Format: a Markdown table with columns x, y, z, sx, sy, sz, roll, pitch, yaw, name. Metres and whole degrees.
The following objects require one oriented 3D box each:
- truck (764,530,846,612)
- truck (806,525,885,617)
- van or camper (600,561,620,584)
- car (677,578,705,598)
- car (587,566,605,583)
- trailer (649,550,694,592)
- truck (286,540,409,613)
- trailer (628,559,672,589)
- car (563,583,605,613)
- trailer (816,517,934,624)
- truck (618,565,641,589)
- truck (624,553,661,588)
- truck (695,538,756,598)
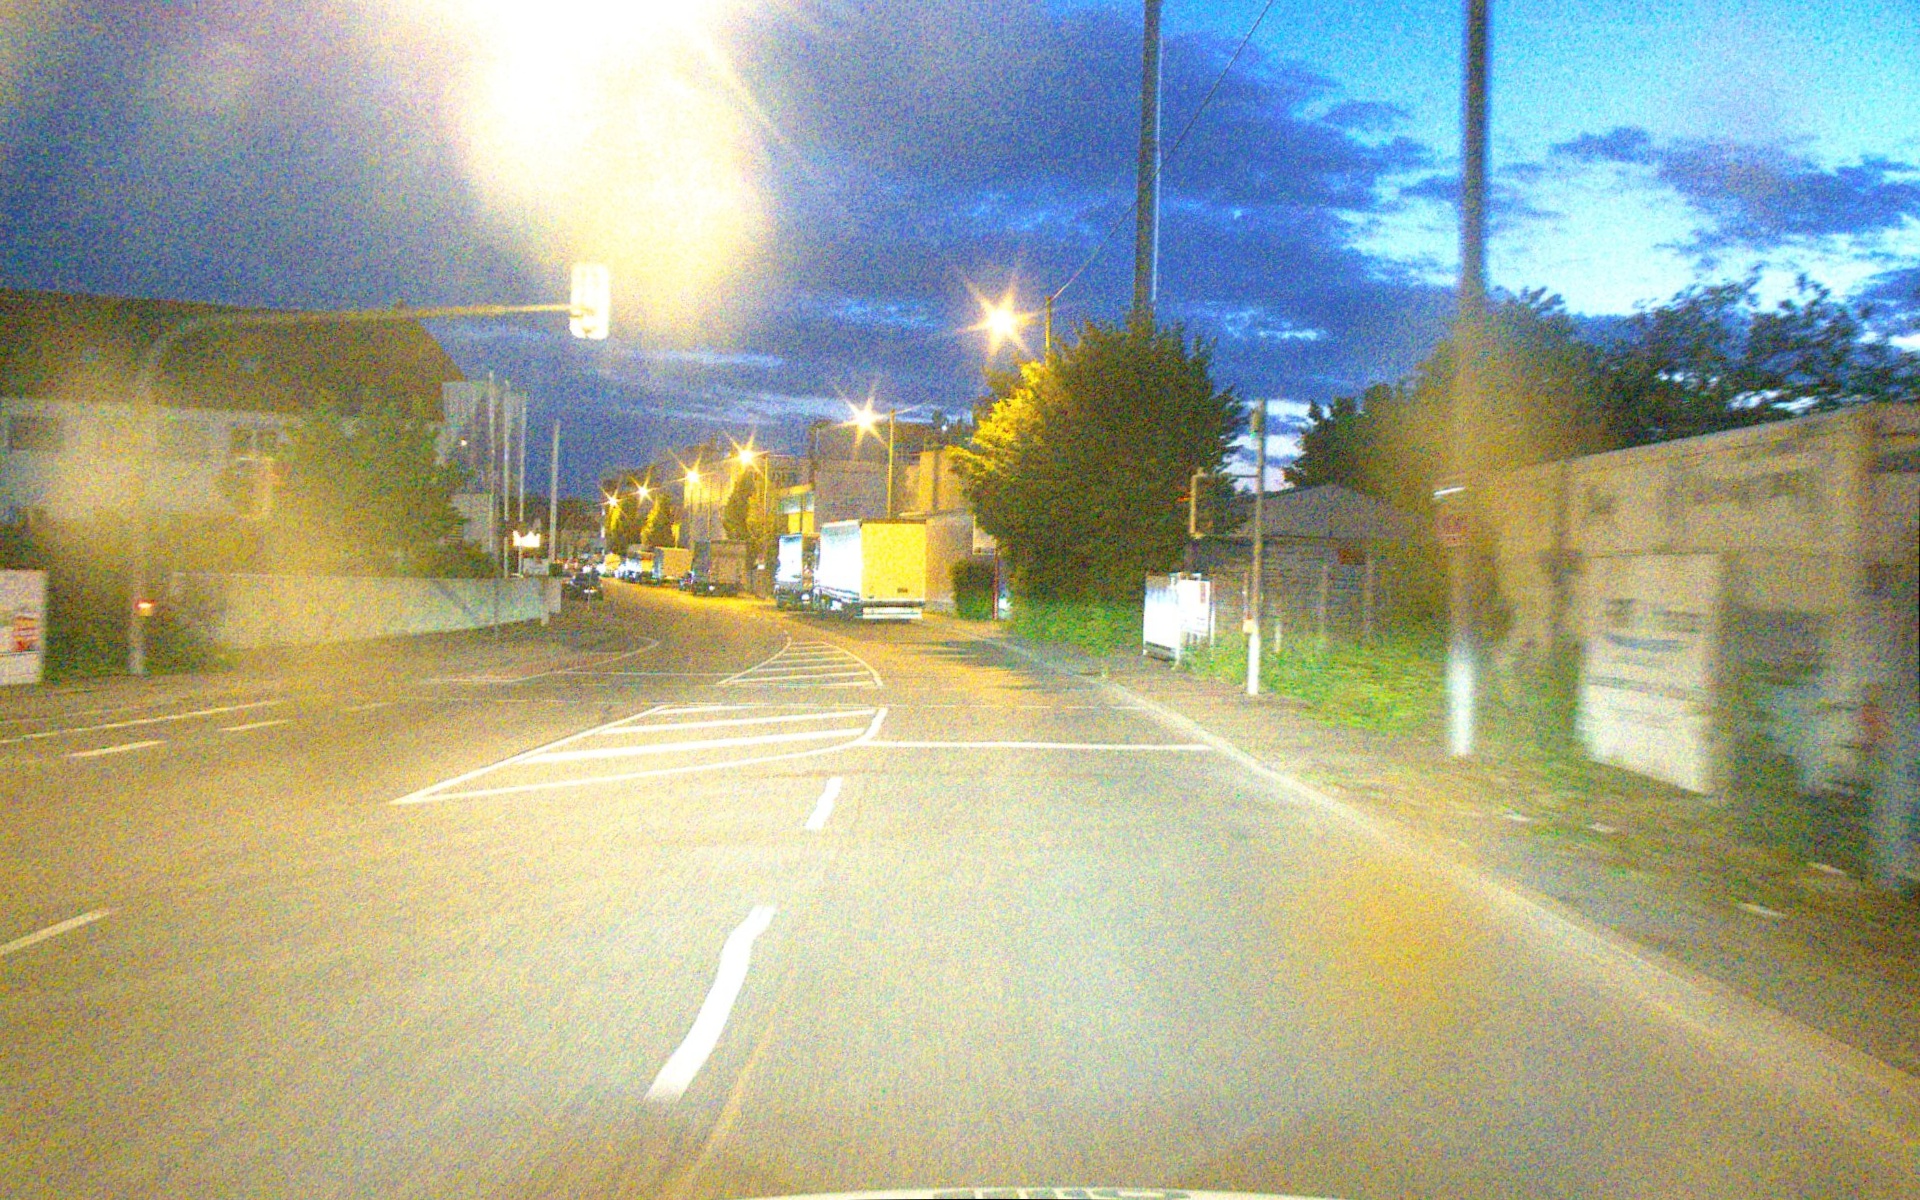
| x | y | z | sx | sy | sz | roll | pitch | yaw | name |
| --- | --- | --- | --- | --- | --- | --- | --- | --- | --- |
| -8.222 | -1.491 | 86.623 | 2.782 | 4.053 | 10.305 | 0 | 1 | -14 | truck |
| -5.372 | -1.328 | 76.684 | 2.781 | 4.053 | 6.030 | 0 | 1 | -13 | truck |
| -42.461 | -3.321 | 200.498 | 1.961 | 2.626 | 4.894 | 2 | 1 | -16 | van or camper |
| -21.732 | -0.980 | 133.628 | 1.823 | 1.545 | 3.801 | 0 | 1 | -16 | car |
| -48.434 | -3.431 | 219.985 | 1.962 | 2.183 | 3.982 | 2 | 1 | -17 | car |
| -25.529 | -2.550 | 146.048 | 2.646 | 3.525 | 7.766 | 2 | 0 | -19 | trailer |
| -17.596 | -0.656 | 47.812 | 1.955 | 1.933 | 5.311 | 2 | 0 | -5 | truck |
| -30.320 | -2.536 | 161.574 | 3.133 | 2.797 | 10.666 | 0 | 1 | -17 | trailer |
| -22.384 | -0.149 | 98.411 | 1.963 | 1.665 | 4.750 | 2 | 0 | -18 | car |
| -3.810 | -1.195 | 69.767 | 2.760 | 4.053 | 13.931 | 0 | 1 | -12 | trailer |
| -35.944 | -2.510 | 179.956 | 1.962 | 2.449 | 5.269 | 2 | 1 | -17 | truck |
| -32.345 | -2.998 | 168.384 | 3.101 | 3.524 | 6.643 | 0 | 1 | -17 | truck |
| -16.943 | -2.258 | 118.902 | 3.460 | 4.053 | 10.309 | 0 | 1 | -13 | truck |
